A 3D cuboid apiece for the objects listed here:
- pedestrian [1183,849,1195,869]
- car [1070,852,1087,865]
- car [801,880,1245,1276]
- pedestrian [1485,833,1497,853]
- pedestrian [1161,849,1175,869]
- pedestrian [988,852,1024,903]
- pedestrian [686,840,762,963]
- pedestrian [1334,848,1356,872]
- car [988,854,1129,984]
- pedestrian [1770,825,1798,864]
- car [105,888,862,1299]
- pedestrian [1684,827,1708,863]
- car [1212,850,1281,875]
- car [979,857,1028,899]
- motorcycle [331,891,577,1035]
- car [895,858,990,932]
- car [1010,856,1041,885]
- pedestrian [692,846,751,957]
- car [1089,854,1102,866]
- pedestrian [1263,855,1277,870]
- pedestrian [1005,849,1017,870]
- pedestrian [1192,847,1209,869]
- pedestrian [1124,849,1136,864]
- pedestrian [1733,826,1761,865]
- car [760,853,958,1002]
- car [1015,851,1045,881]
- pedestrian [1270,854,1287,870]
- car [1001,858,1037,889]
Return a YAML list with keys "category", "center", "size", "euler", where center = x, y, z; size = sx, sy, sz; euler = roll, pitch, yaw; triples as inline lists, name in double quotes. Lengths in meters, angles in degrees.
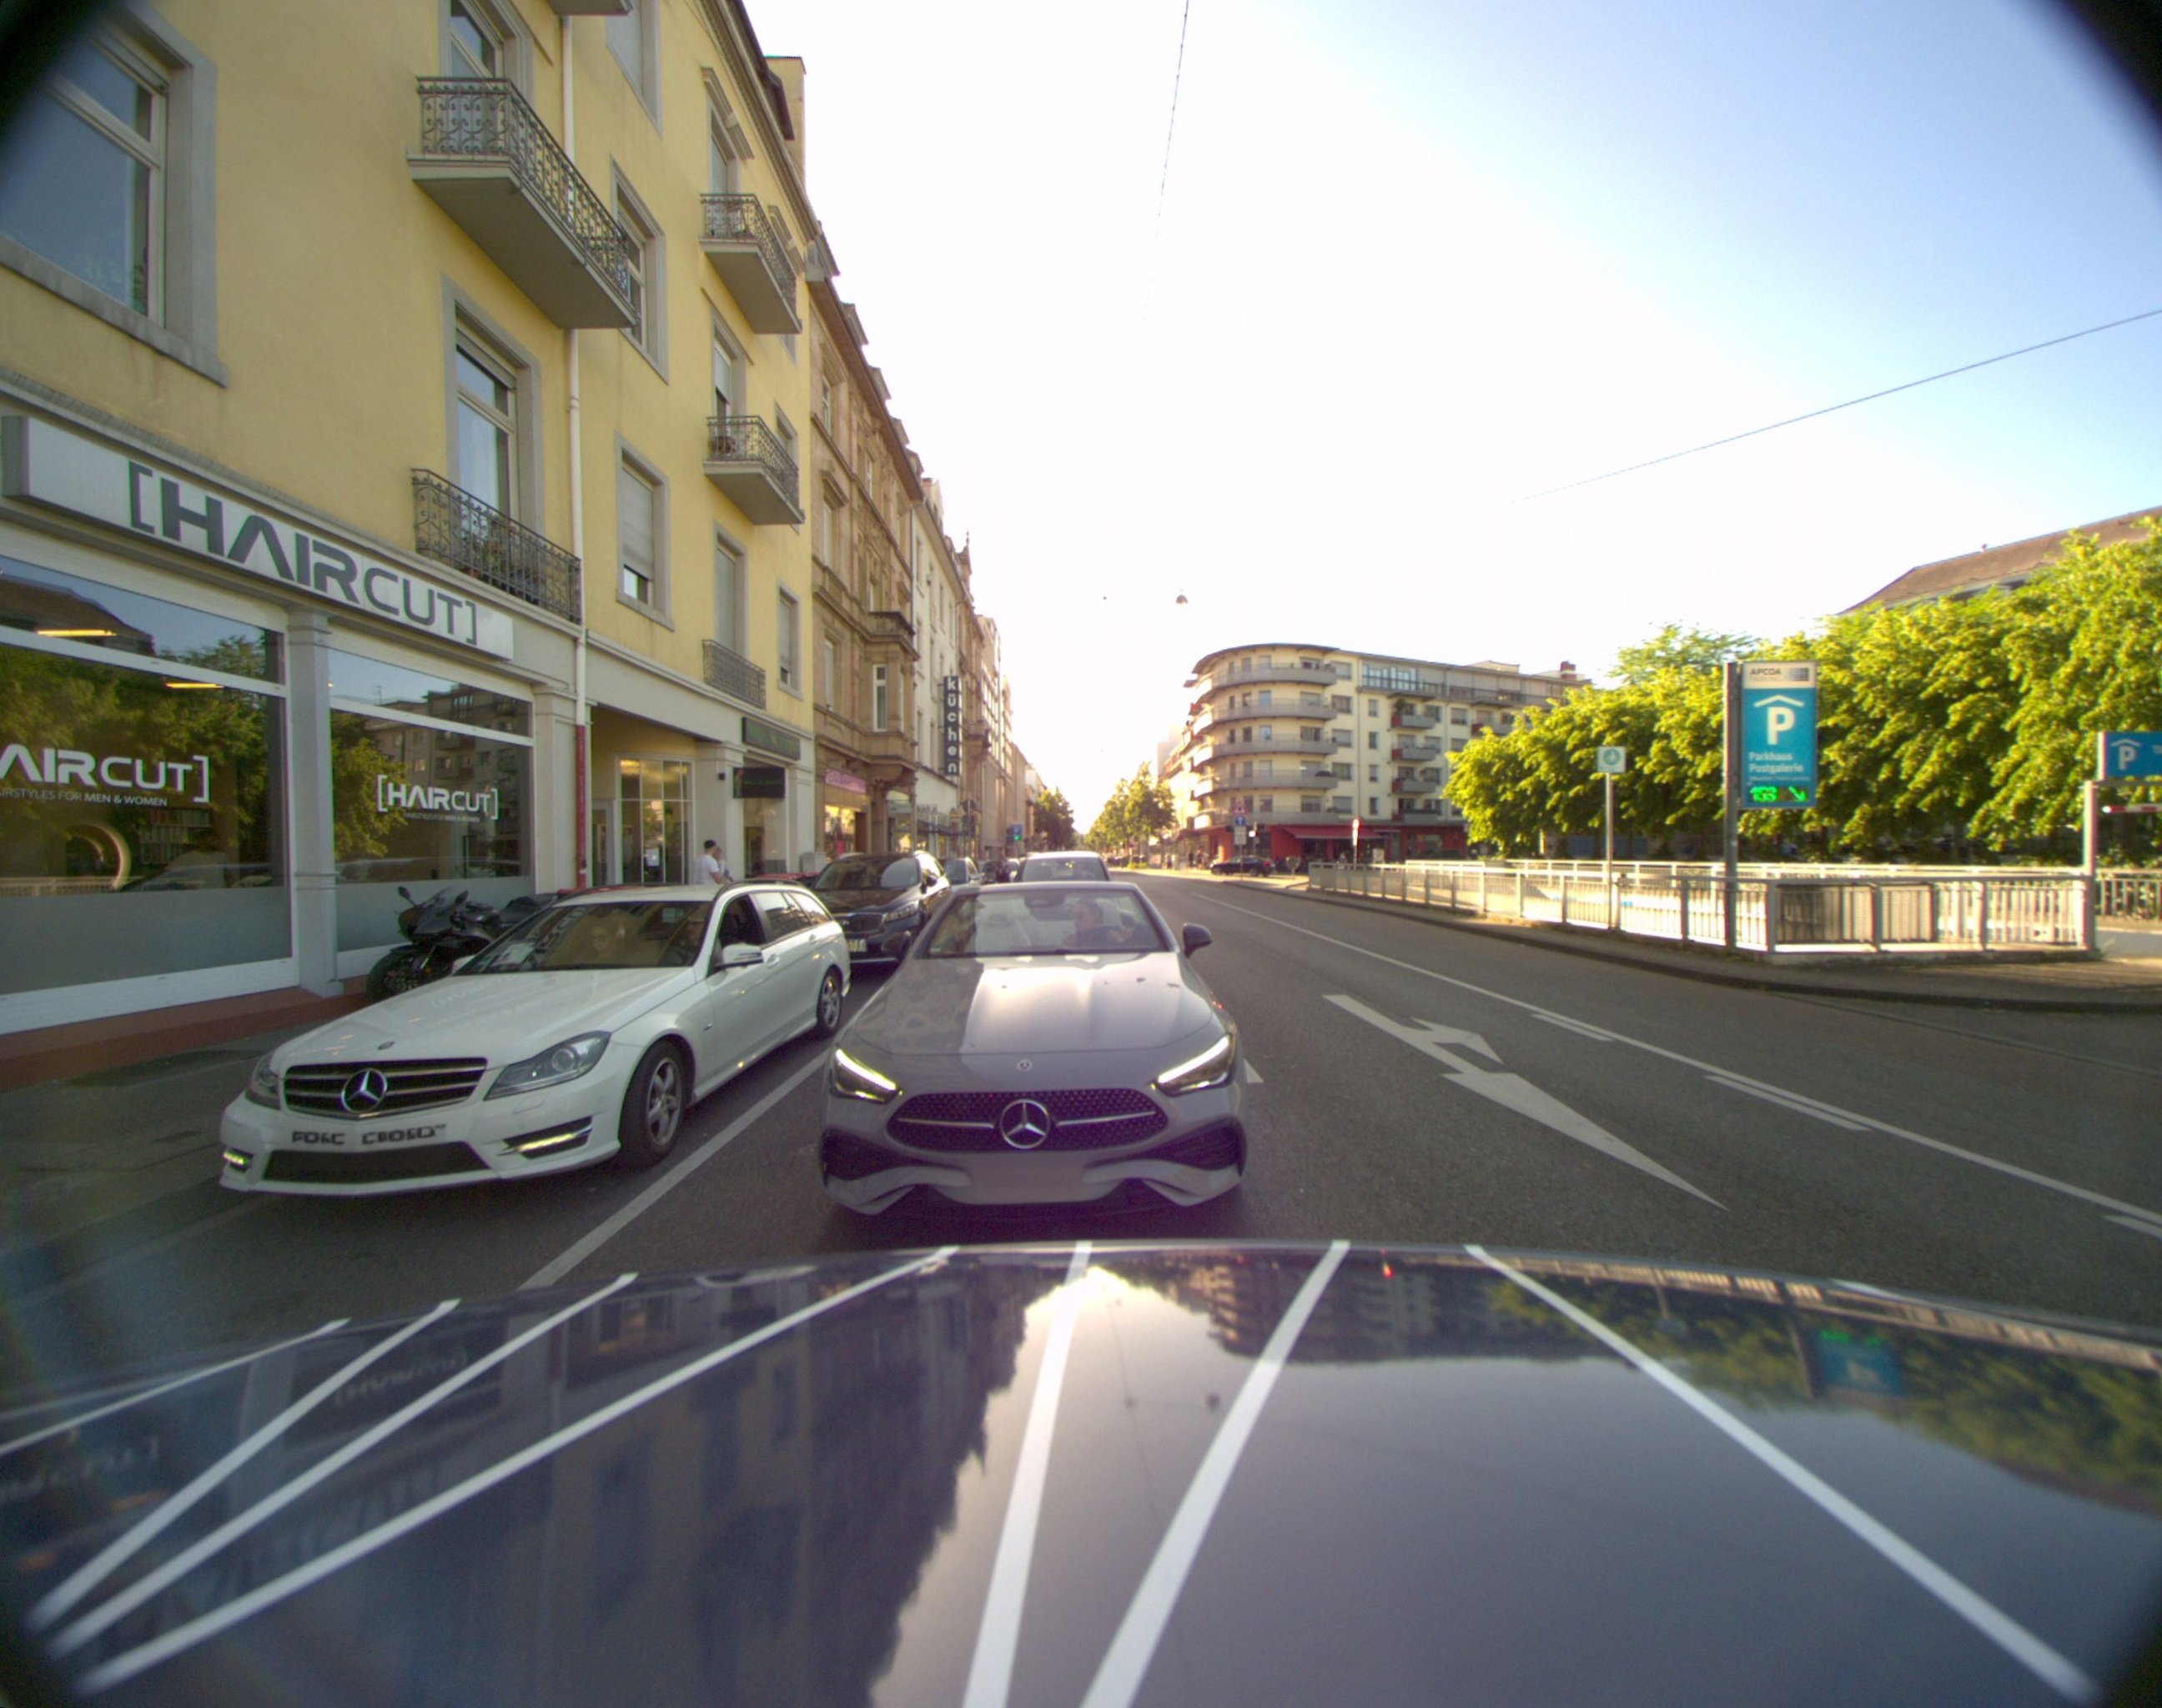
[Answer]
- category: "pedestrian"
  center: [10.386, 0.454, 73.177]
  size: [0.990, 1.908, 0.790]
  euler: [-2, 1, -3]
- category: "car"
  center: [-0.356, 0.506, 93.375]
  size: [1.696, 1.437, 3.574]
  euler: [-2, 1, -6]
- category: "car"
  center: [-0.287, 0.993, 5.359]
  size: [1.769, 1.360, 4.471]
  euler: [-2, 1, -2]
- category: "pedestrian"
  center: [38.352, -1.001, 71.058]
  size: [0.747, 1.832, 0.684]
  euler: [-2, 1, 1]
- category: "pedestrian"
  center: [7.770, 0.470, 67.974]
  size: [1.069, 1.709, 1.080]
  euler: [-2, 1, -3]
- category: "pedestrian"
  center: [-2.587, 0.802, 26.160]
  size: [0.835, 1.709, 0.821]
  euler: [-2, 1, 28]
- category: "pedestrian"
  center: [-5.698, 0.725, 12.137]
  size: [0.975, 1.866, 0.534]
  euler: [-3, 1, -31]
- category: "pedestrian"
  center: [19.017, 0.398, 54.746]
  size: [1.269, 1.656, 1.142]
  euler: [-2, 1, 32]
- category: "car"
  center: [-0.371, 0.889, 12.759]
  size: [1.866, 1.658, 4.706]
  euler: [-2, 1, -2]
- category: "pedestrian"
  center: [33.666, -0.436, 36.392]
  size: [0.748, 1.832, 0.683]
  euler: [-2, 1, -13]
- category: "car"
  center: [-3.032, 1.067, 5.248]
  size: [1.672, 1.364, 4.377]
  euler: [-2, 1, 1]
- category: "pedestrian"
  center: [31.951, -0.456, 39.474]
  size: [0.748, 1.832, 0.683]
  euler: [-3, 1, -21]
- category: "car"
  center: [11.217, 0.554, 51.619]
  size: [4.237, 1.522, 1.680]
  euler: [1, 2, 38]
- category: "car"
  center: [-3.034, 0.897, 30.313]
  size: [1.695, 1.482, 3.796]
  euler: [-2, 1, -3]
- category: "motorcycle"
  center: [-6.261, 1.018, 7.790]
  size: [0.735, 1.124, 2.109]
  euler: [2, 1, 1]
- category: "car"
  center: [-3.188, 0.900, 17.990]
  size: [1.583, 1.514, 2.998]
  euler: [-2, 1, 1]
- category: "car"
  center: [-2.950, 0.860, 40.951]
  size: [1.461, 1.391, 3.362]
  euler: [-2, 1, -1]
- category: "pedestrian"
  center: [-6.155, 0.789, 13.061]
  size: [0.630, 1.826, 0.770]
  euler: [-2, 1, -7]
- category: "car"
  center: [2.419, 0.934, 126.072]
  size: [1.836, 1.831, 3.886]
  euler: [1, 1, -2]
- category: "pedestrian"
  center: [14.914, 0.661, 60.041]
  size: [0.780, 1.191, 0.884]
  euler: [-2, 1, -10]
- category: "pedestrian"
  center: [-5.907, 0.431, 64.186]
  size: [0.826, 1.750, 0.823]
  euler: [-2, 1, -1]
- category: "pedestrian"
  center: [10.109, 0.328, 64.148]
  size: [1.061, 1.739, 0.961]
  euler: [-2, 1, -11]
- category: "pedestrian"
  center: [6.083, 0.262, 95.025]
  size: [1.222, 1.826, 1.202]
  euler: [-2, 1, -9]
- category: "pedestrian"
  center: [32.251, -0.396, 36.780]
  size: [0.748, 1.852, 0.683]
  euler: [-2, 1, -13]
- category: "car"
  center: [-3.019, 0.885, 11.339]
  size: [1.806, 1.680, 4.408]
  euler: [-2, 1, -3]
- category: "car"
  center: [-3.161, 0.710, 47.549]
  size: [1.695, 1.670, 3.880]
  euler: [-2, 1, -3]
- category: "pedestrian"
  center: [15.420, 0.649, 59.383]
  size: [0.937, 1.191, 0.832]
  euler: [-3, 1, -24]
- category: "car"
  center: [-2.962, 0.895, 36.682]
  size: [1.461, 1.310, 3.363]
  euler: [-2, 1, -1]
